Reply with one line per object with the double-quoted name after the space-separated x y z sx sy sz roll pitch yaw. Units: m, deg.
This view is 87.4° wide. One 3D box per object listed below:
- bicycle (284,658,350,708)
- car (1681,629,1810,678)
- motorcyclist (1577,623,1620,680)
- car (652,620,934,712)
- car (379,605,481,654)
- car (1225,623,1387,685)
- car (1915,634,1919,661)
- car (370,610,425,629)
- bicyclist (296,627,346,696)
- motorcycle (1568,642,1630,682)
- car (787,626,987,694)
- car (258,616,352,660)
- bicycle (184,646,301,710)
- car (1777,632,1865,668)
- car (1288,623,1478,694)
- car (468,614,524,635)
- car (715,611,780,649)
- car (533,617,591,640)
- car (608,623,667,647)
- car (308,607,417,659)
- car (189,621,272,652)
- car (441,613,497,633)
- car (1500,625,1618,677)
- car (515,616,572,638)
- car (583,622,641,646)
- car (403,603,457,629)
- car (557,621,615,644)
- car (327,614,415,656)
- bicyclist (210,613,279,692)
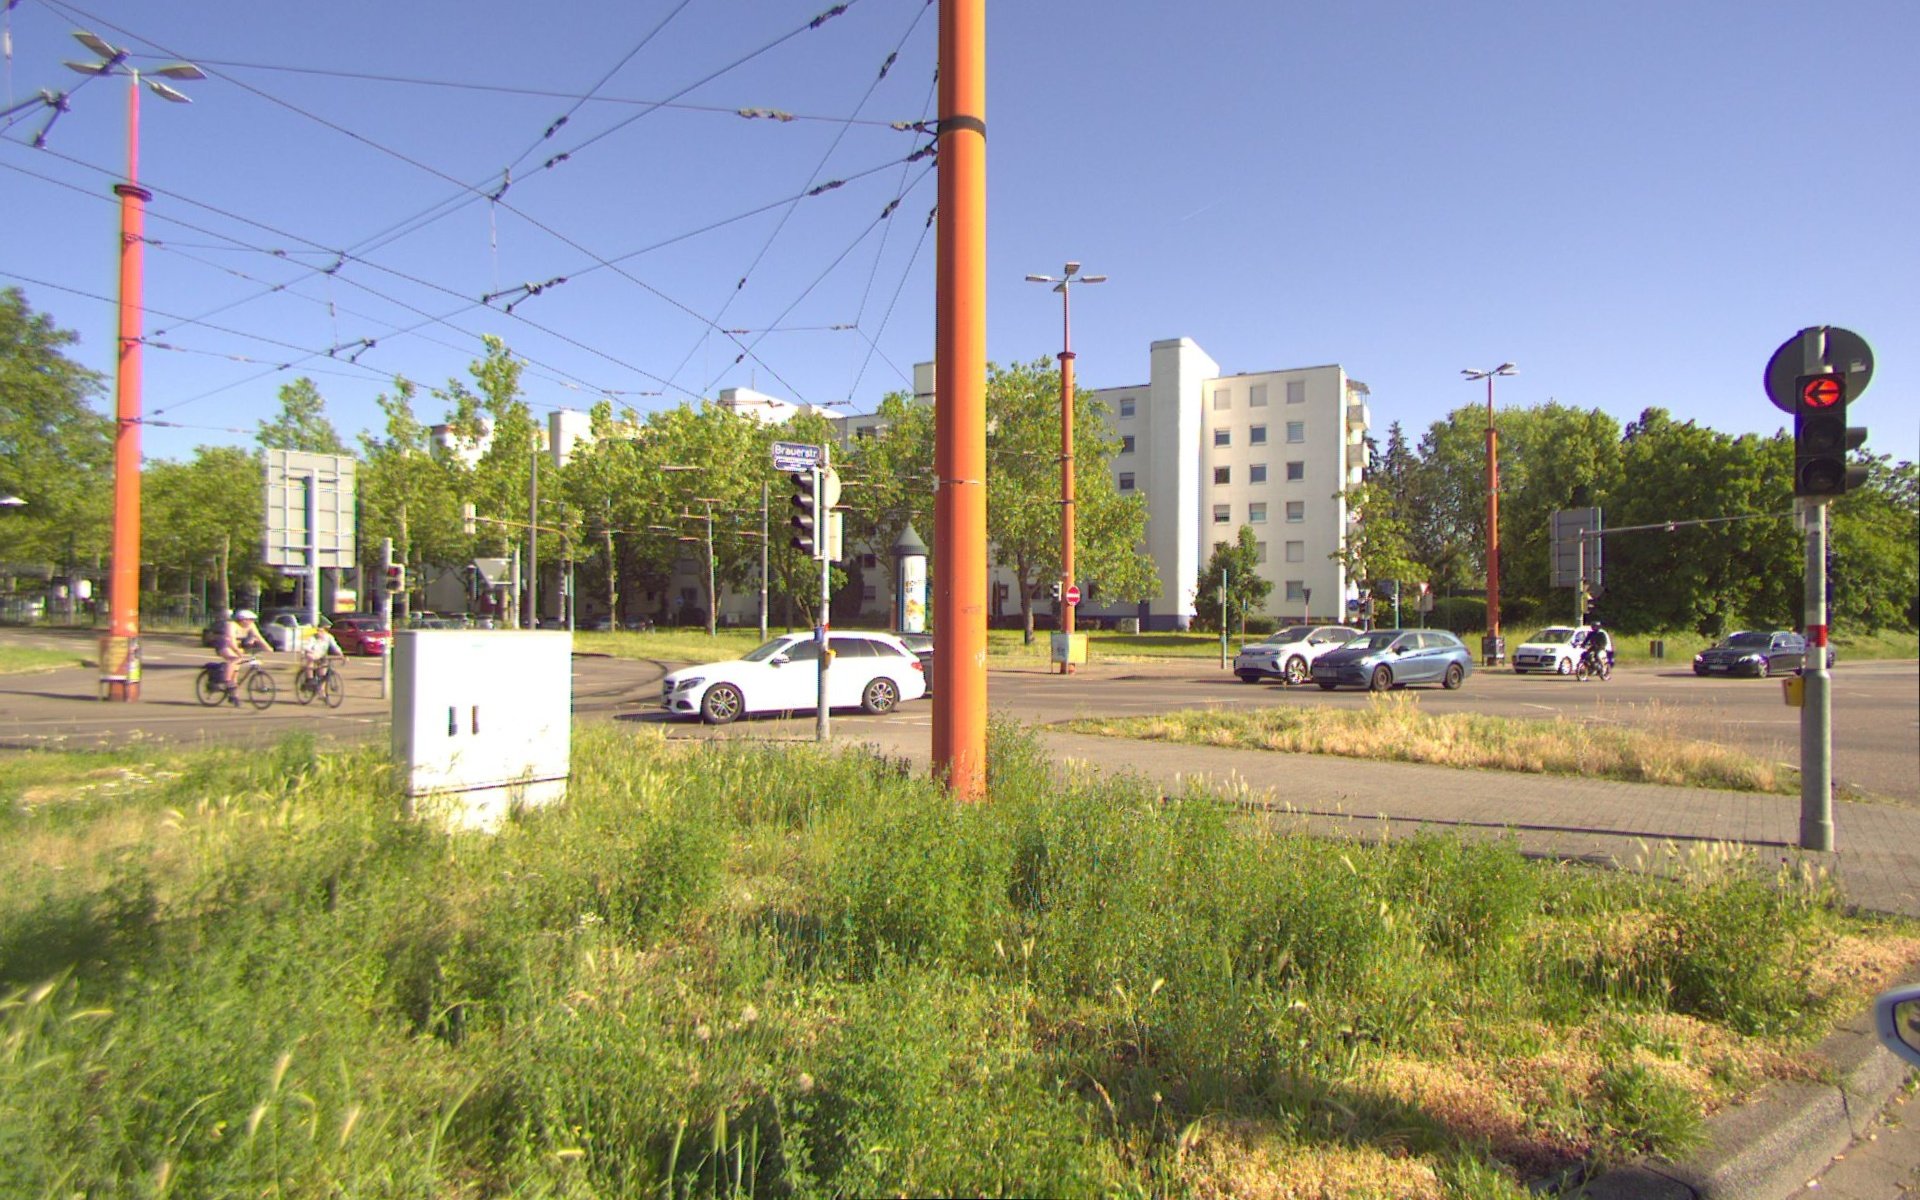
-12.902 1.645 20.152 1.596 0.894 0.368 1 0 28 "bicycle"
26.171 1.762 33.454 4.552 1.505 1.867 2 -1 -31 "car"
18.764 1.504 29.531 0.631 1.621 0.833 1 0 -22 "motorcyclist"
-2.877 1.123 17.644 4.587 1.441 1.696 2 -2 -30 "car"
-23.066 1.255 43.680 4.199 1.926 1.996 1 0 31 "car"
9.786 1.504 28.366 4.381 1.622 1.831 2 -2 -27 "car"
54.297 2.612 55.226 3.838 1.452 1.538 2 -3 -29 "car"
-51.110 1.804 91.326 3.934 1.617 1.889 2 0 -16 "car"
-12.763 1.214 20.054 0.687 1.340 0.548 1 0 27 "bicyclist"
18.814 1.830 29.584 2.065 1.146 0.420 2 0 -23 "motorcycle"
-1.572 1.274 21.976 3.983 1.359 1.853 2 -2 -30 "car"
-29.012 1.668 44.475 3.929 1.773 1.909 1 0 31 "car"
-13.702 1.480 19.173 2.313 1.095 0.474 1 0 16 "bicycle"
36.000 2.069 41.973 4.088 1.406 1.424 2 0 -28 "car"
10.423 1.406 24.732 4.407 1.615 1.986 1 -2 -27 "car"
-38.632 2.047 83.778 3.934 1.617 1.889 2 0 -16 "car"
-13.807 1.958 65.192 3.934 2.341 1.889 2 0 -16 "car"
-30.814 2.188 77.819 3.934 1.617 1.889 2 0 -16 "car"
-23.187 2.543 72.337 3.934 1.617 1.889 2 0 -16 "car"
-24.116 1.304 40.538 4.199 1.926 1.996 1 0 31 "car"
-34.463 1.698 47.443 3.929 1.339 1.732 1 0 31 "car"
-41.842 1.984 85.642 3.934 1.617 1.889 2 0 -16 "car"
20.934 1.774 35.079 4.010 1.730 1.793 2 -2 -29 "car"
-32.903 2.150 79.451 3.934 1.617 1.889 2 0 -16 "car"
-25.687 2.499 74.302 3.934 1.617 1.889 2 0 -16 "car"
-41.633 1.262 78.856 4.334 2.040 1.994 0 -1 35 "car"
-28.160 2.450 75.748 3.934 1.617 1.889 2 0 -16 "car"
-27.556 1.599 46.981 3.929 1.773 1.909 1 0 31 "car"
-13.620 0.977 19.132 0.742 1.449 0.752 1 0 16 "bicyclist"
